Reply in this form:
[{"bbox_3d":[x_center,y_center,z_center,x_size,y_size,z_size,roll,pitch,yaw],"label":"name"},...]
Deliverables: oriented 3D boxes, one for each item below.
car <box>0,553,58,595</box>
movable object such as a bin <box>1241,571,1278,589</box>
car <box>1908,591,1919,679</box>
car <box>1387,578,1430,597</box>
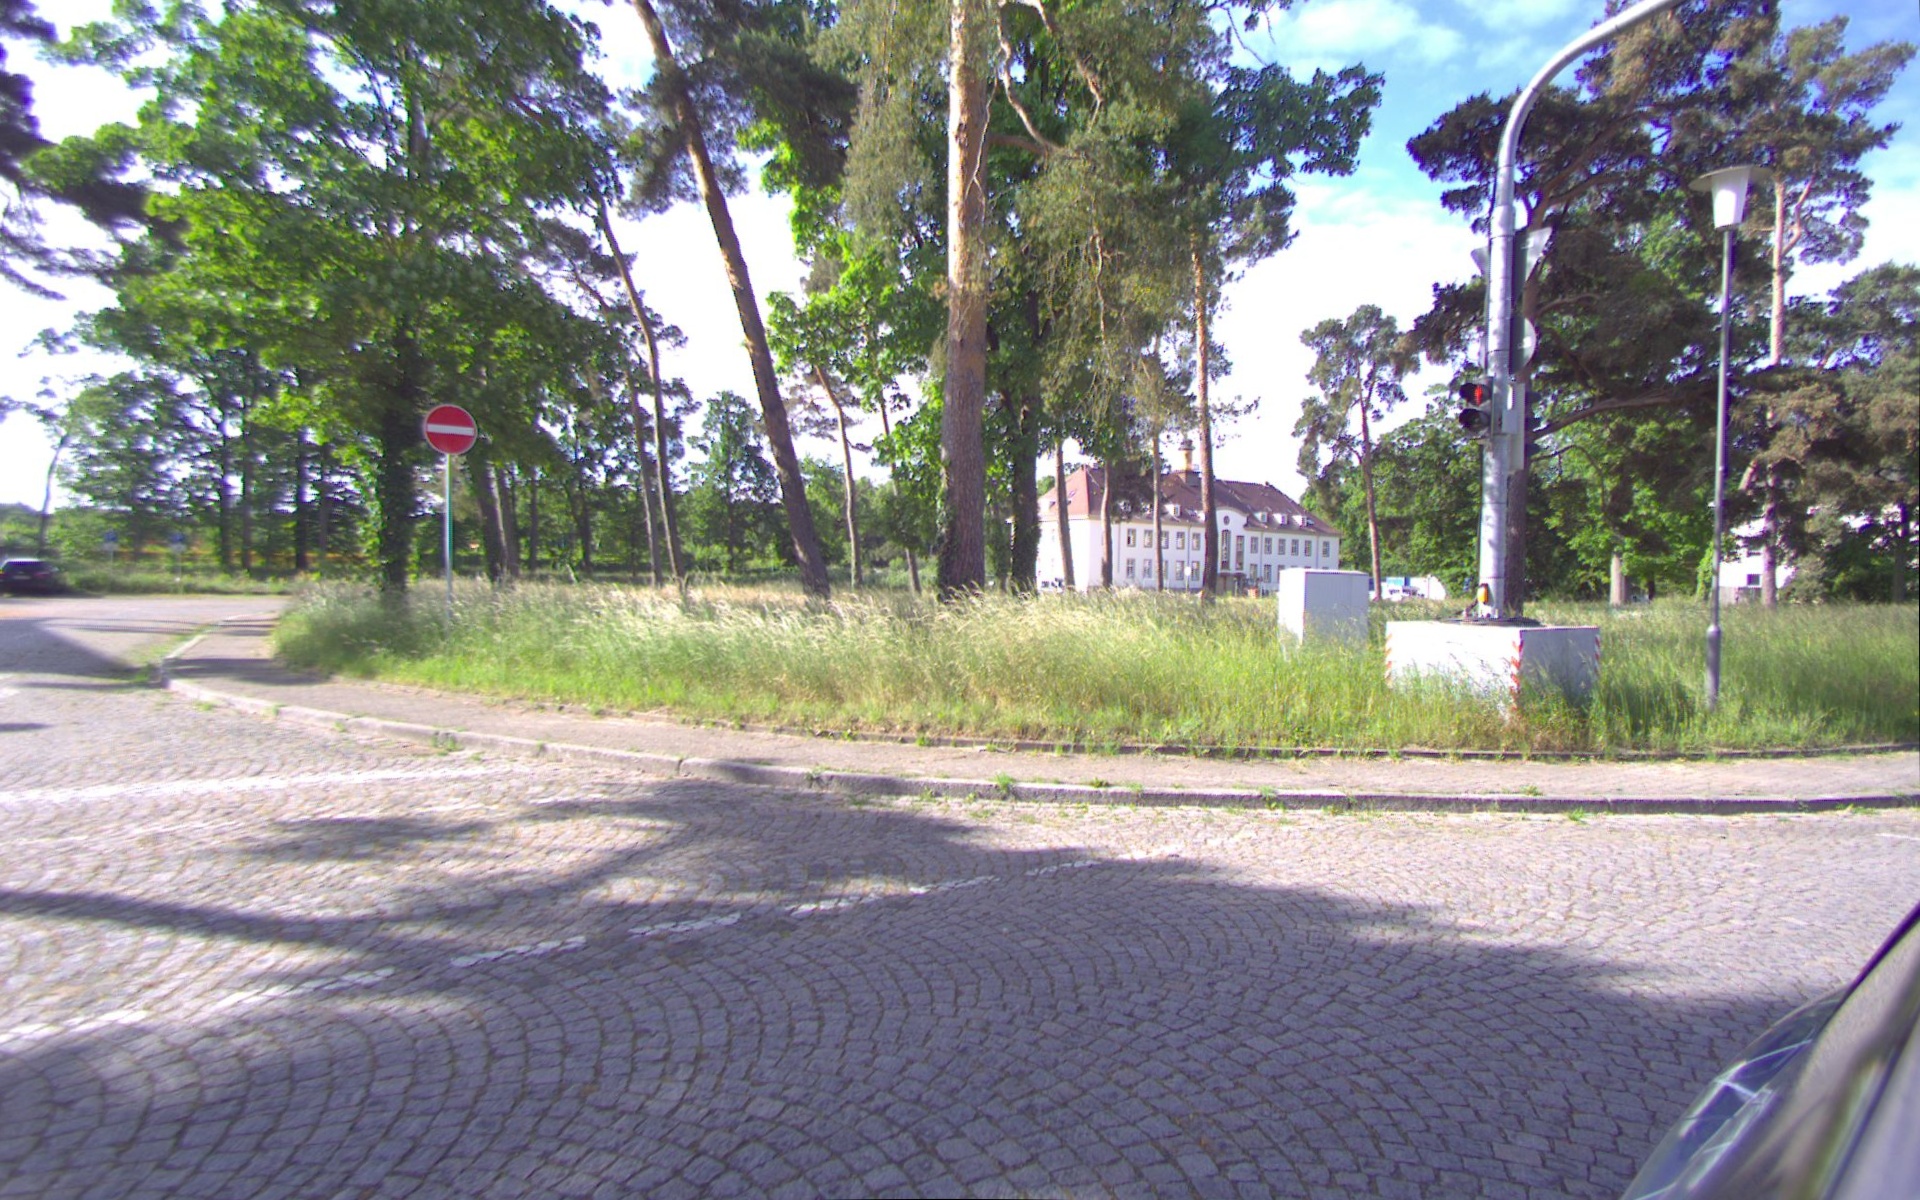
[{"bbox_3d":[-38.417,-1.080,41.426,1.821,1.618,4.000,0,2,-36],"label":"car"},{"bbox_3d":[39.102,-2.616,132.146,4.893,2.352,2.000,0,2,-36],"label":"movable object such as a bin"},{"bbox_3d":[18.090,0.685,16.110,1.834,1.478,4.032,0,2,-33],"label":"car"},{"bbox_3d":[50.062,-1.364,112.930,4.678,2.039,2.002,0,1,-32],"label":"car"}]
